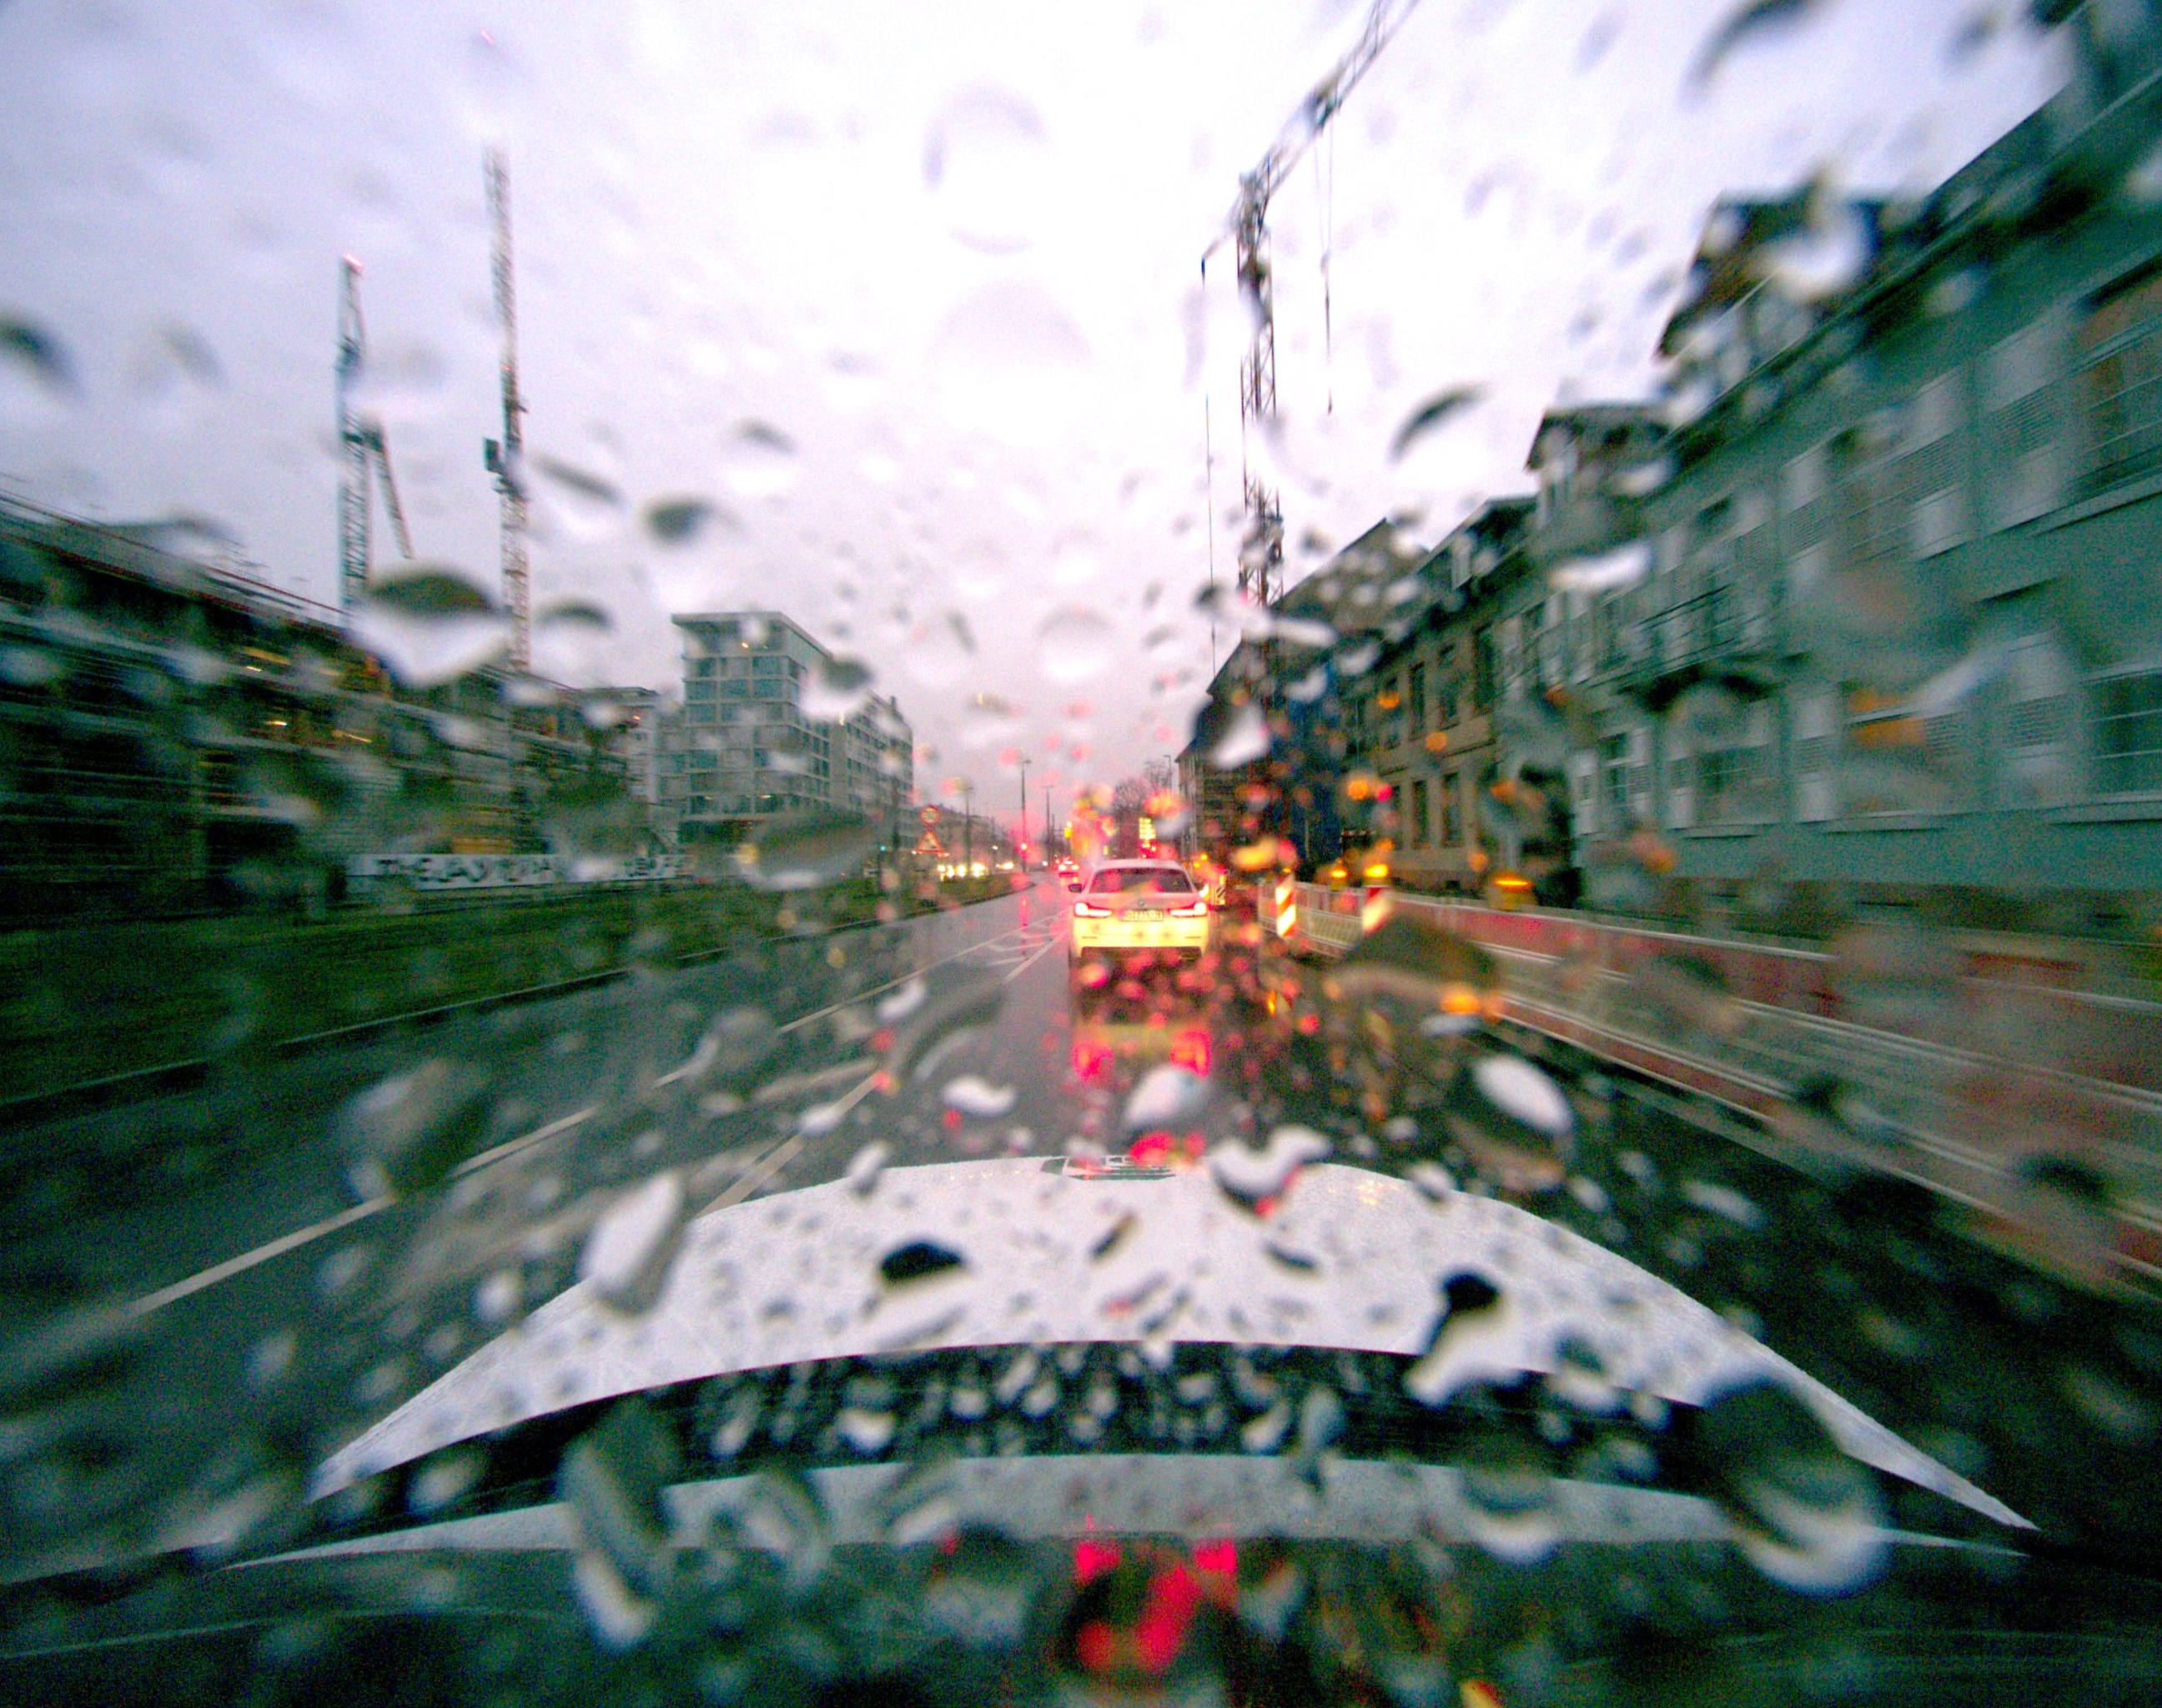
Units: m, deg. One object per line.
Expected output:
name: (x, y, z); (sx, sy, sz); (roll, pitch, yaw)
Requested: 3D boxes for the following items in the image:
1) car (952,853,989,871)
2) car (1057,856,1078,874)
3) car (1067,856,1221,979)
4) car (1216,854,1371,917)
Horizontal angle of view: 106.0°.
car: (-12.775, 0.924, 94.367); (3.999, 1.975, 1.987); (0, 0, -19)
car: (-1.271, 0.994, 77.453); (1.895, 1.642, 4.000); (0, 0, 0)
car: (0.748, 0.776, 12.322); (1.846, 1.465, 4.945); (0, 0, 0)
car: (5.773, 0.776, 21.957); (4.113, 1.518, 1.887); (0, 0, -36)
